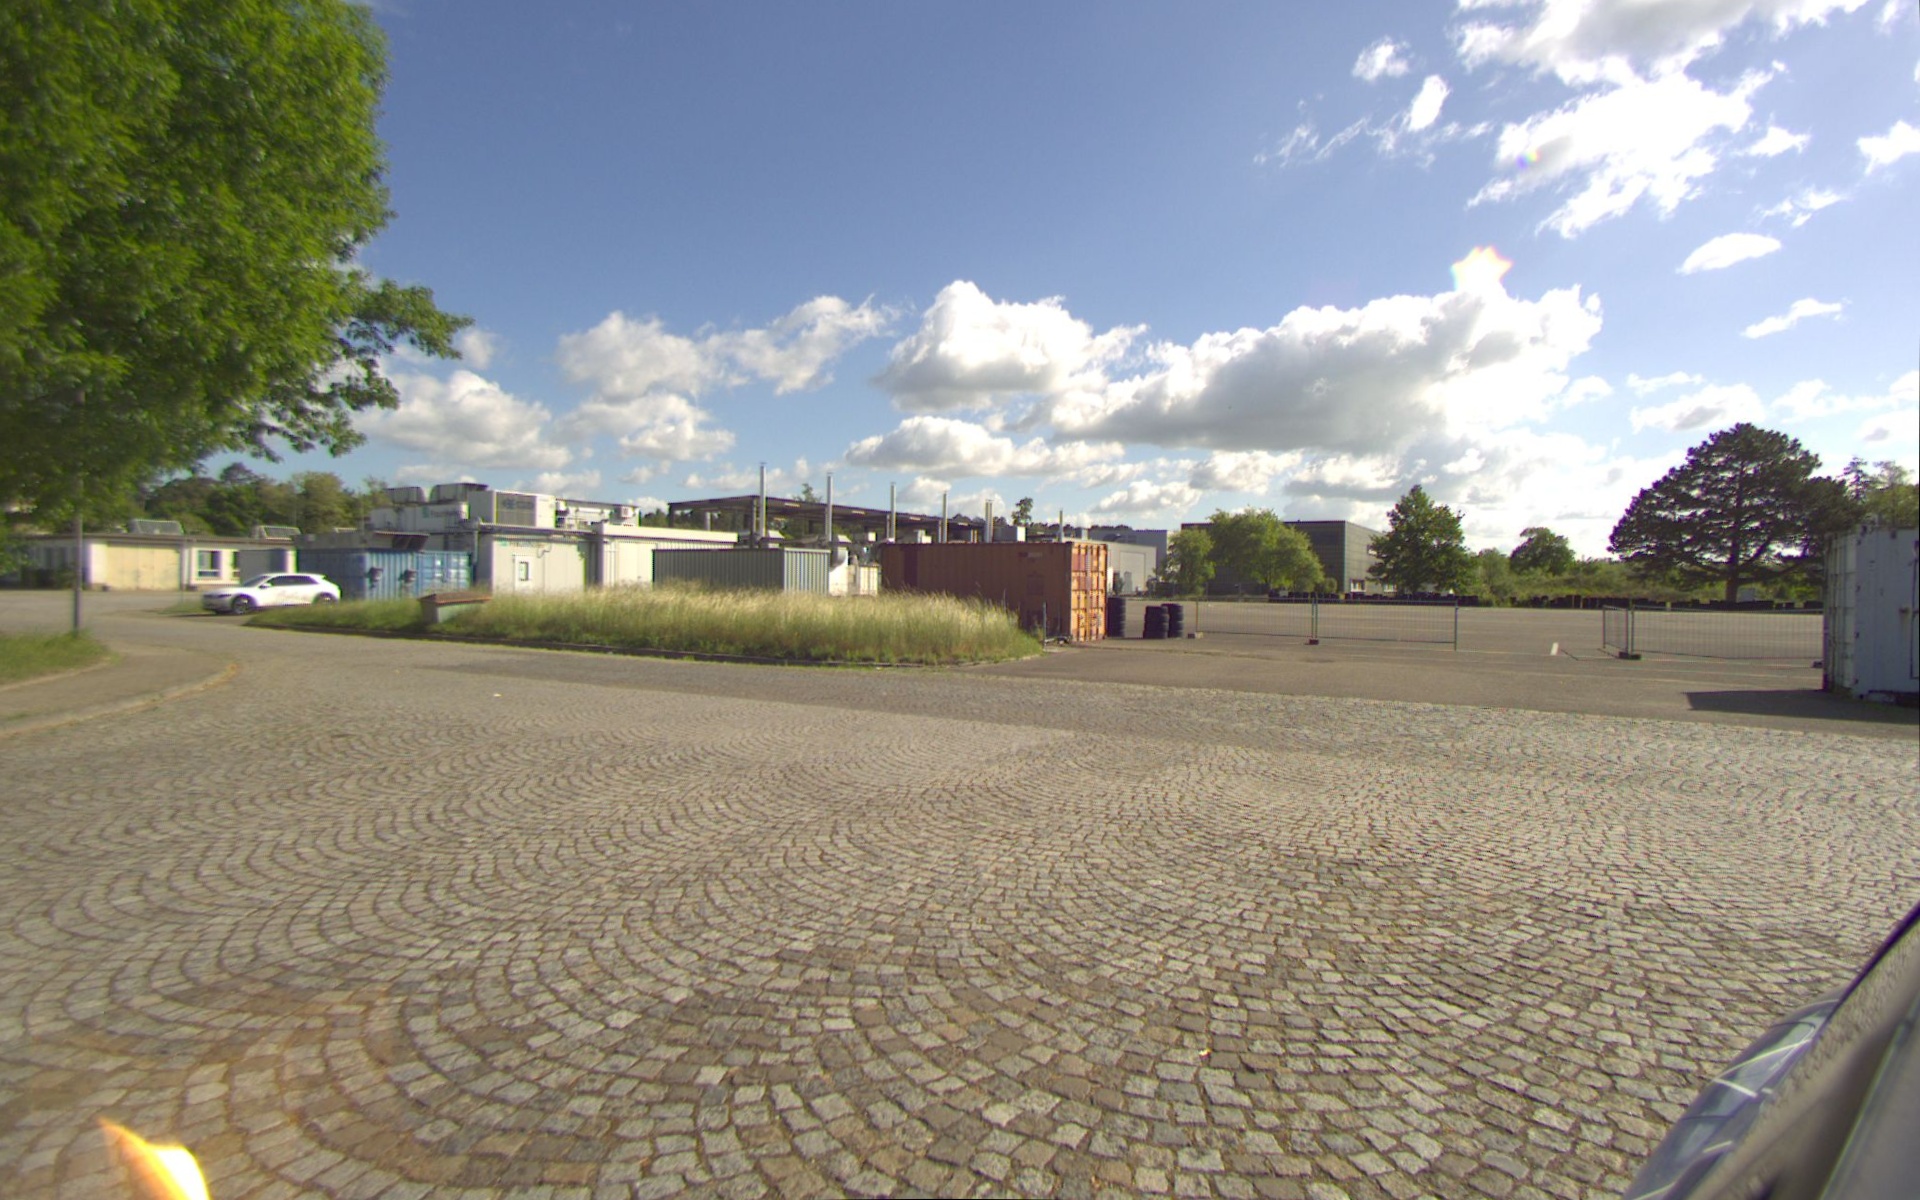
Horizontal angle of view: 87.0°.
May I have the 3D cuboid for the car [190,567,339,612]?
[{"bbox_3d":[-27.320,-0.450,39.911,1.983,1.668,4.471,1,1,30],"label":"car"}]
